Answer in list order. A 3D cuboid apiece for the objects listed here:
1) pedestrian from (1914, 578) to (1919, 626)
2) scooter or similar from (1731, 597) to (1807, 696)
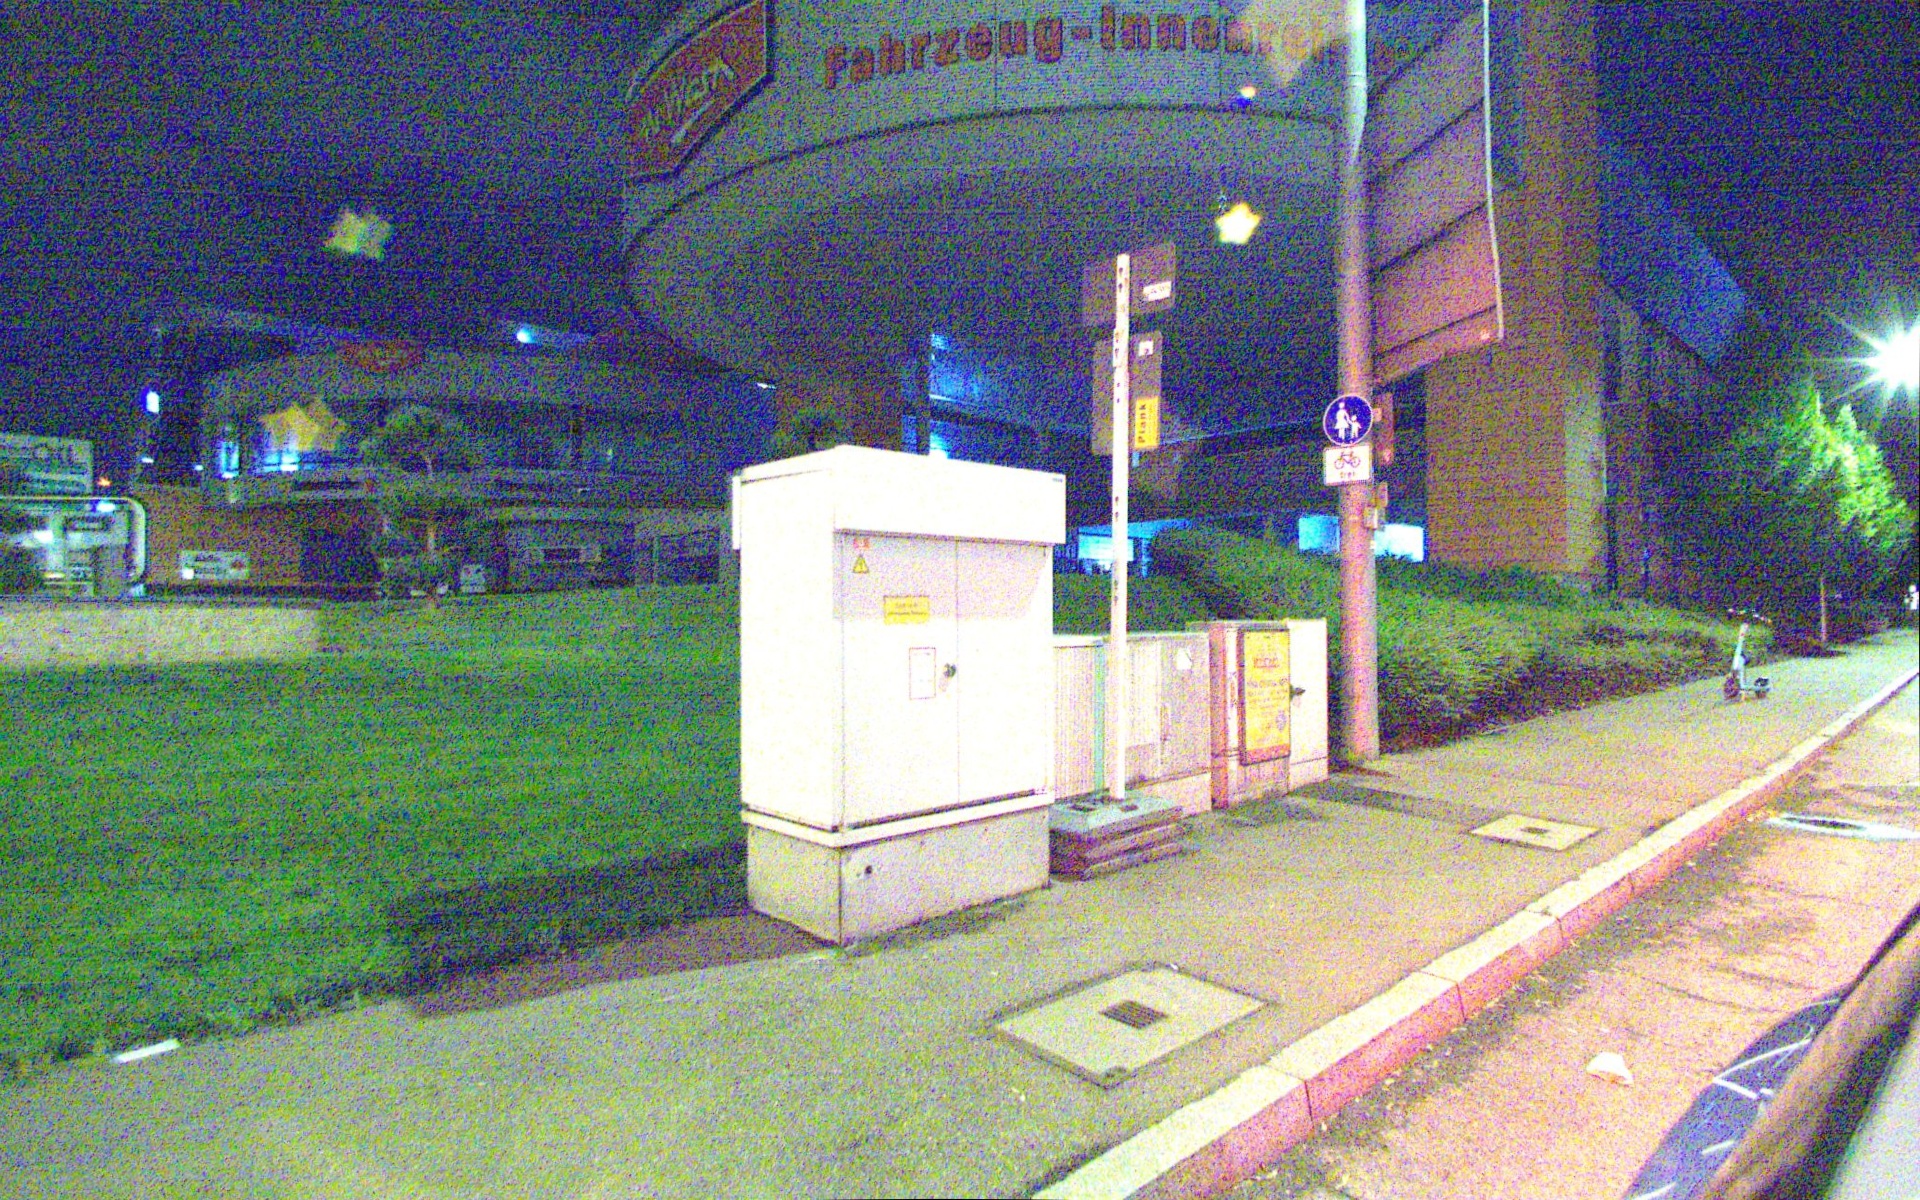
[{"bbox_3d":[37.609,0.074,39.226,0.597,1.842,0.824,-1,0,-40],"label":"pedestrian"},{"bbox_3d":[11.264,0.622,14.077,1.367,1.295,0.569,0,1,-41],"label":"scooter or similar"}]
